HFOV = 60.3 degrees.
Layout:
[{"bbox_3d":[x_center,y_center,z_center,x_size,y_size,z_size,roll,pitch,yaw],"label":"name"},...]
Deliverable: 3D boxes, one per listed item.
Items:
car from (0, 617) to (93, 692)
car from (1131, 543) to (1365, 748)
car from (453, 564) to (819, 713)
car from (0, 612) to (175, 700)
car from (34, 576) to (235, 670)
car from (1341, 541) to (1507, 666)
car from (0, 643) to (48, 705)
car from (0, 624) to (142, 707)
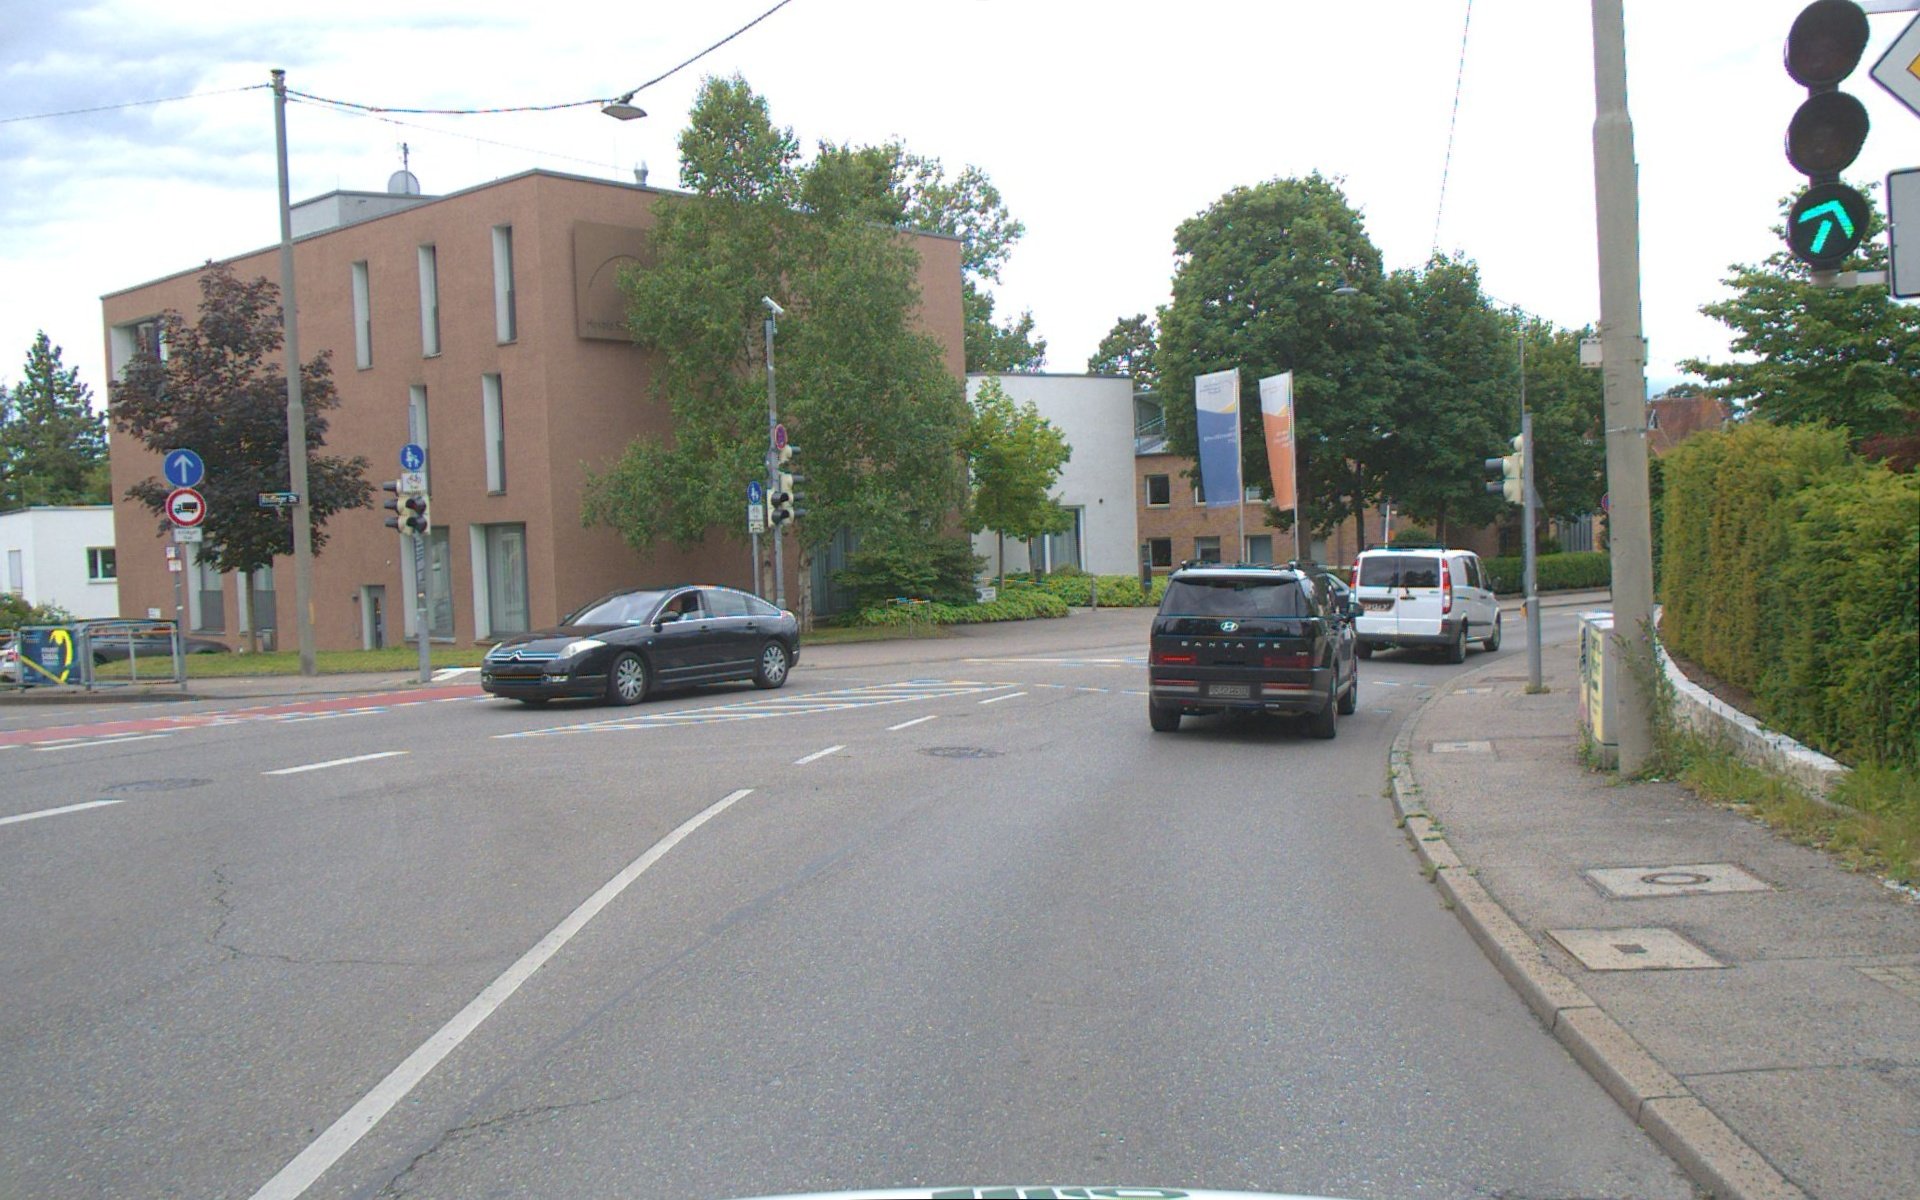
[{"bbox_3d":[-28.468,1.652,49.562,3.970,2.048,1.968,-4,2,-44],"label":"car"},{"bbox_3d":[3.203,0.381,17.721,1.951,1.914,4.002,1,1,17],"label":"car"},{"bbox_3d":[-4.126,0.430,21.879,1.958,1.687,4.772,-2,1,33],"label":"car"},{"bbox_3d":[-23.273,1.450,43.854,3.971,2.048,1.967,-3,1,-45],"label":"car"},{"bbox_3d":[-20.194,0.534,40.542,3.970,2.048,1.968,-3,1,-44],"label":"car"},{"bbox_3d":[8.396,0.007,29.670,1.924,2.048,4.421,1,1,29],"label":"car"},{"bbox_3d":[-34.492,2.666,58.294,3.950,2.048,1.978,-3,1,-33],"label":"car"},{"bbox_3d":[-25.095,1.784,45.787,1.967,2.049,3.972,-2,0,45],"label":"car"}]
